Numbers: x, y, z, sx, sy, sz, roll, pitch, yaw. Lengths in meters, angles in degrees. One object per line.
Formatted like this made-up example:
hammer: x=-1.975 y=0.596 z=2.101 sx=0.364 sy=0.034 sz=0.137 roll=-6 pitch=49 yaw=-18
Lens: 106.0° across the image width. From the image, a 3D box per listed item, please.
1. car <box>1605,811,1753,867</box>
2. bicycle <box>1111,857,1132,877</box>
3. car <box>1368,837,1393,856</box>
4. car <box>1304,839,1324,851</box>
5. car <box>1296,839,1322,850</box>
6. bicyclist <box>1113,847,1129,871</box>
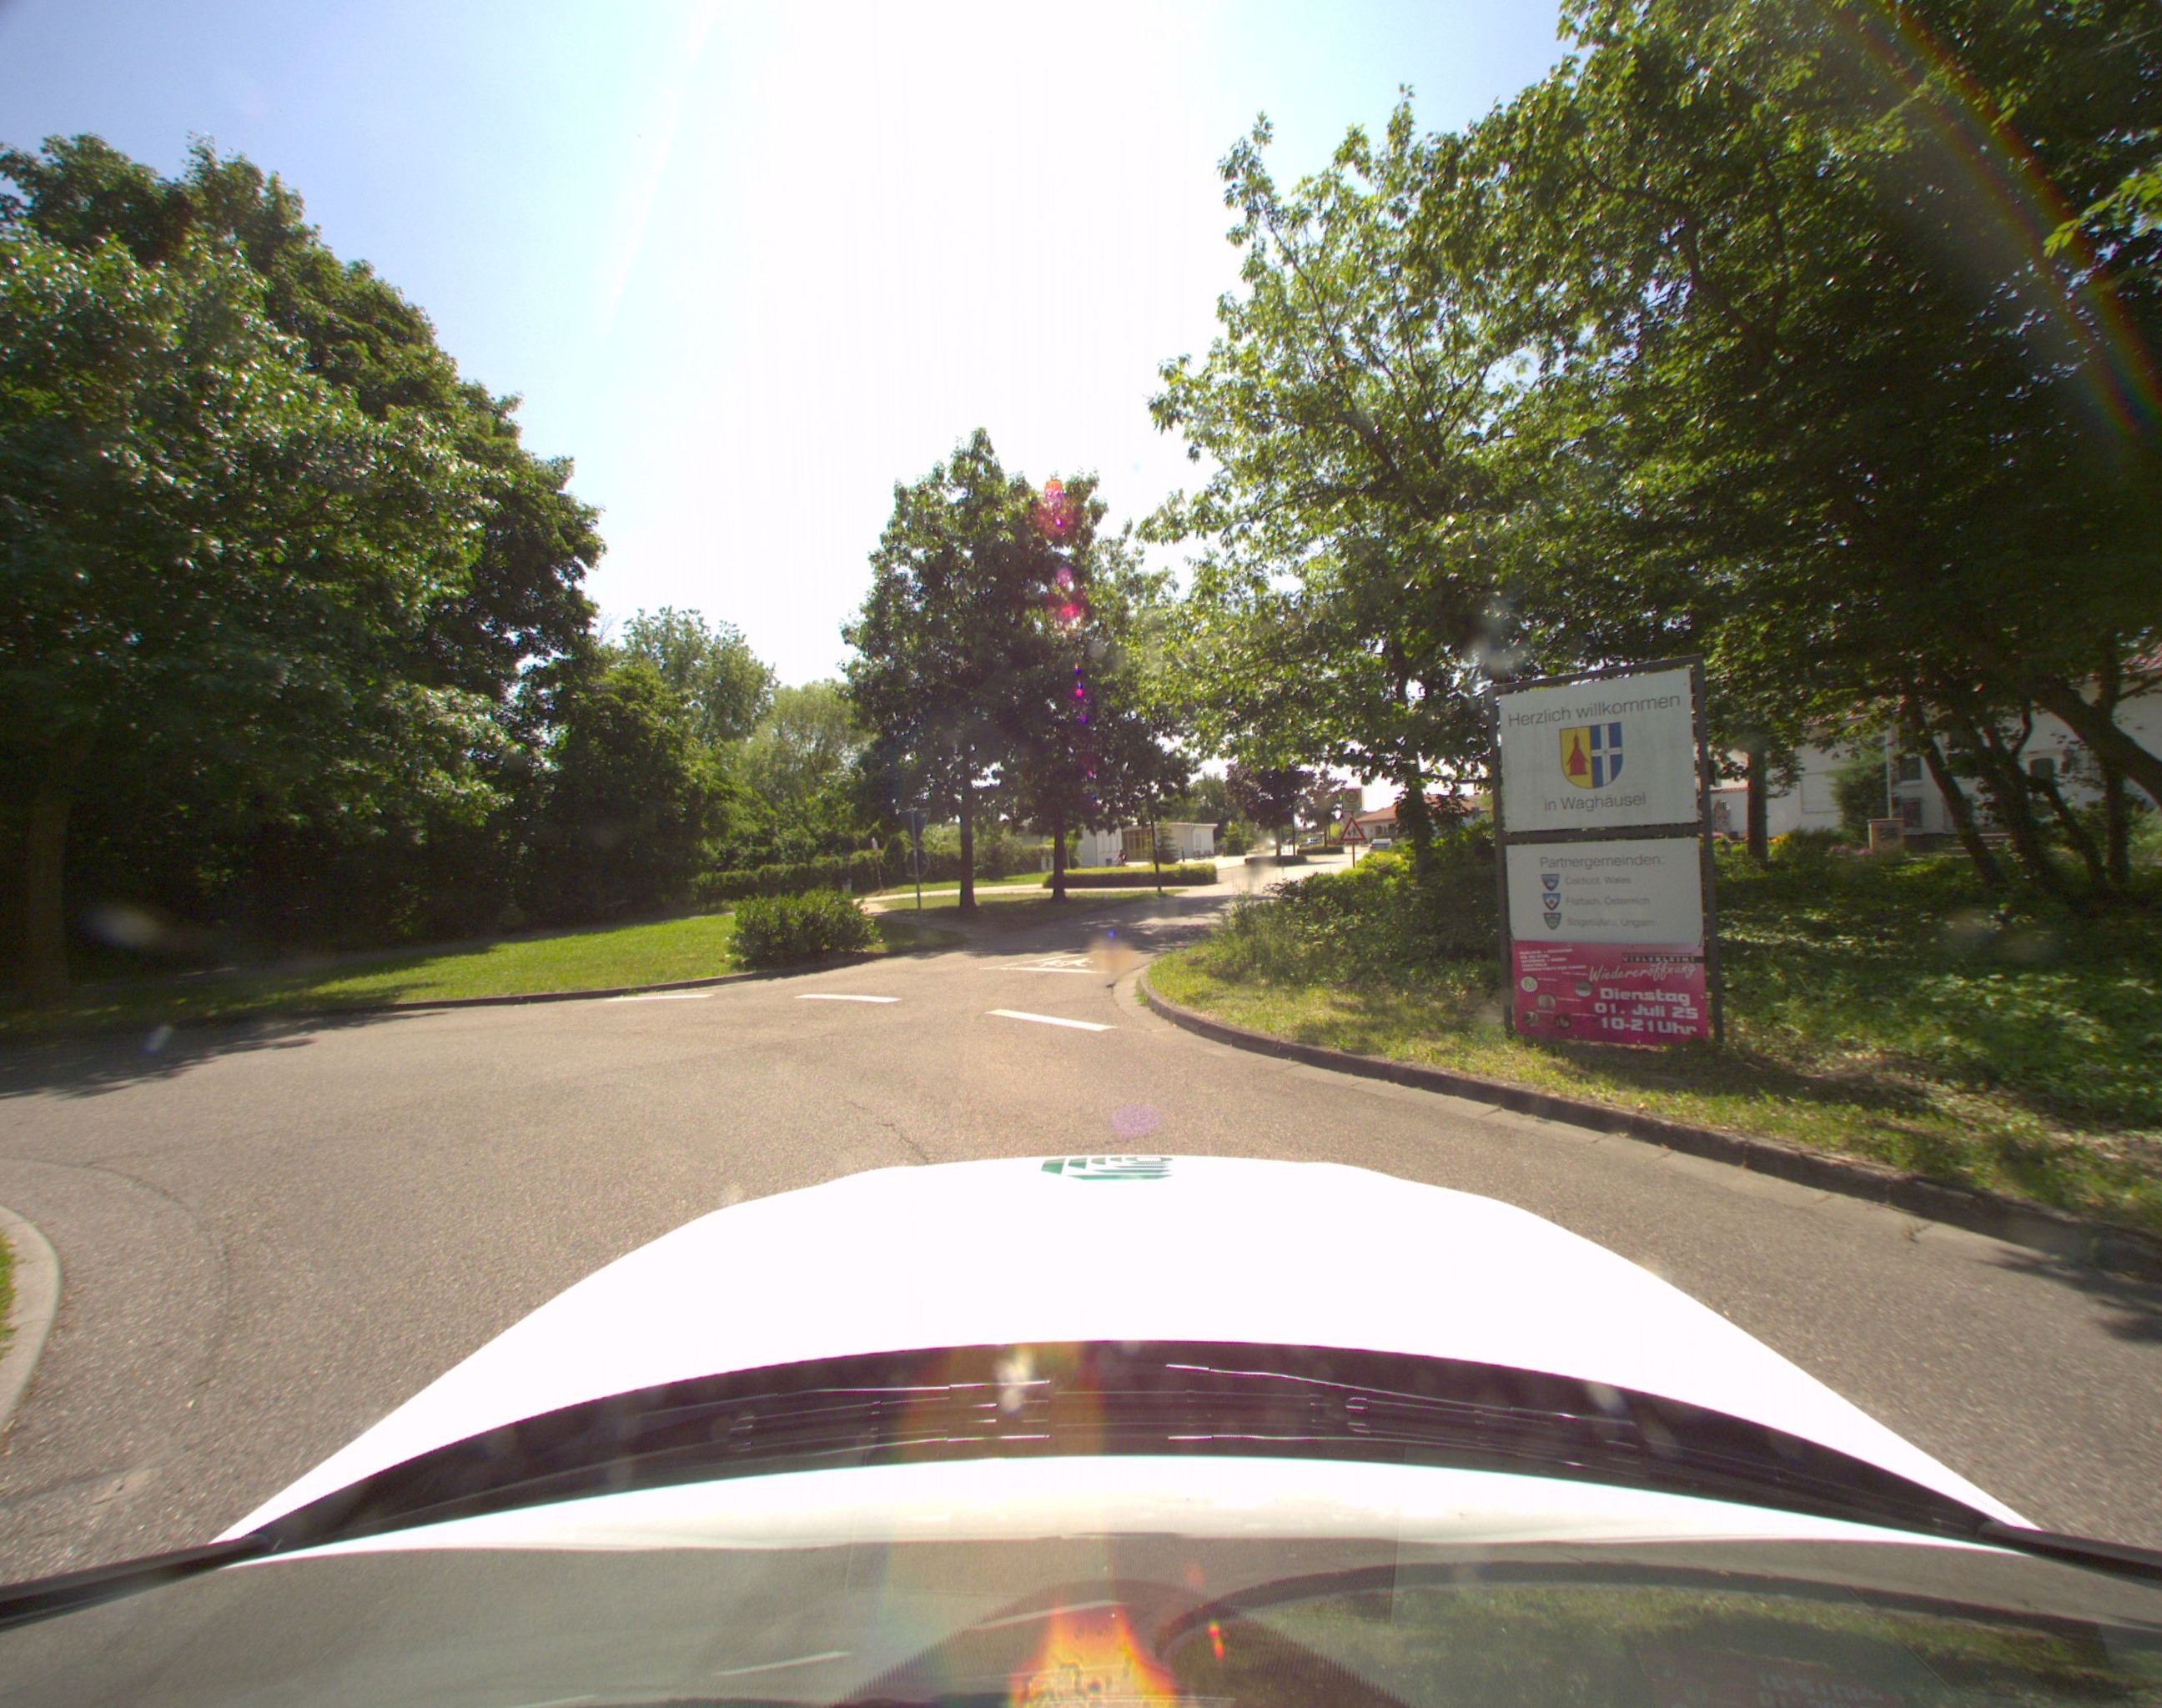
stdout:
car: x=19.363 y=-0.454 z=26.607 sx=1.657 sy=1.601 sz=4.021 roll=-3 pitch=0 yaw=-4
bicycle: x=2.054 y=0.638 z=41.470 sx=0.592 sy=0.929 sz=1.628 roll=-3 pitch=0 yaw=19
car: x=21.991 y=-0.586 z=59.864 sx=1.601 sy=1.288 sz=3.575 roll=-3 pitch=0 yaw=20
car: x=27.917 y=-1.039 z=97.754 sx=1.607 sy=1.288 sz=3.561 roll=-3 pitch=0 yaw=5
car: x=30.322 y=-1.287 z=108.489 sx=1.990 sy=1.288 sz=3.993 roll=-3 pitch=0 yaw=-5
bicyclist: x=2.045 y=0.246 z=41.508 sx=0.592 sy=1.164 sz=0.651 roll=-3 pitch=0 yaw=19
